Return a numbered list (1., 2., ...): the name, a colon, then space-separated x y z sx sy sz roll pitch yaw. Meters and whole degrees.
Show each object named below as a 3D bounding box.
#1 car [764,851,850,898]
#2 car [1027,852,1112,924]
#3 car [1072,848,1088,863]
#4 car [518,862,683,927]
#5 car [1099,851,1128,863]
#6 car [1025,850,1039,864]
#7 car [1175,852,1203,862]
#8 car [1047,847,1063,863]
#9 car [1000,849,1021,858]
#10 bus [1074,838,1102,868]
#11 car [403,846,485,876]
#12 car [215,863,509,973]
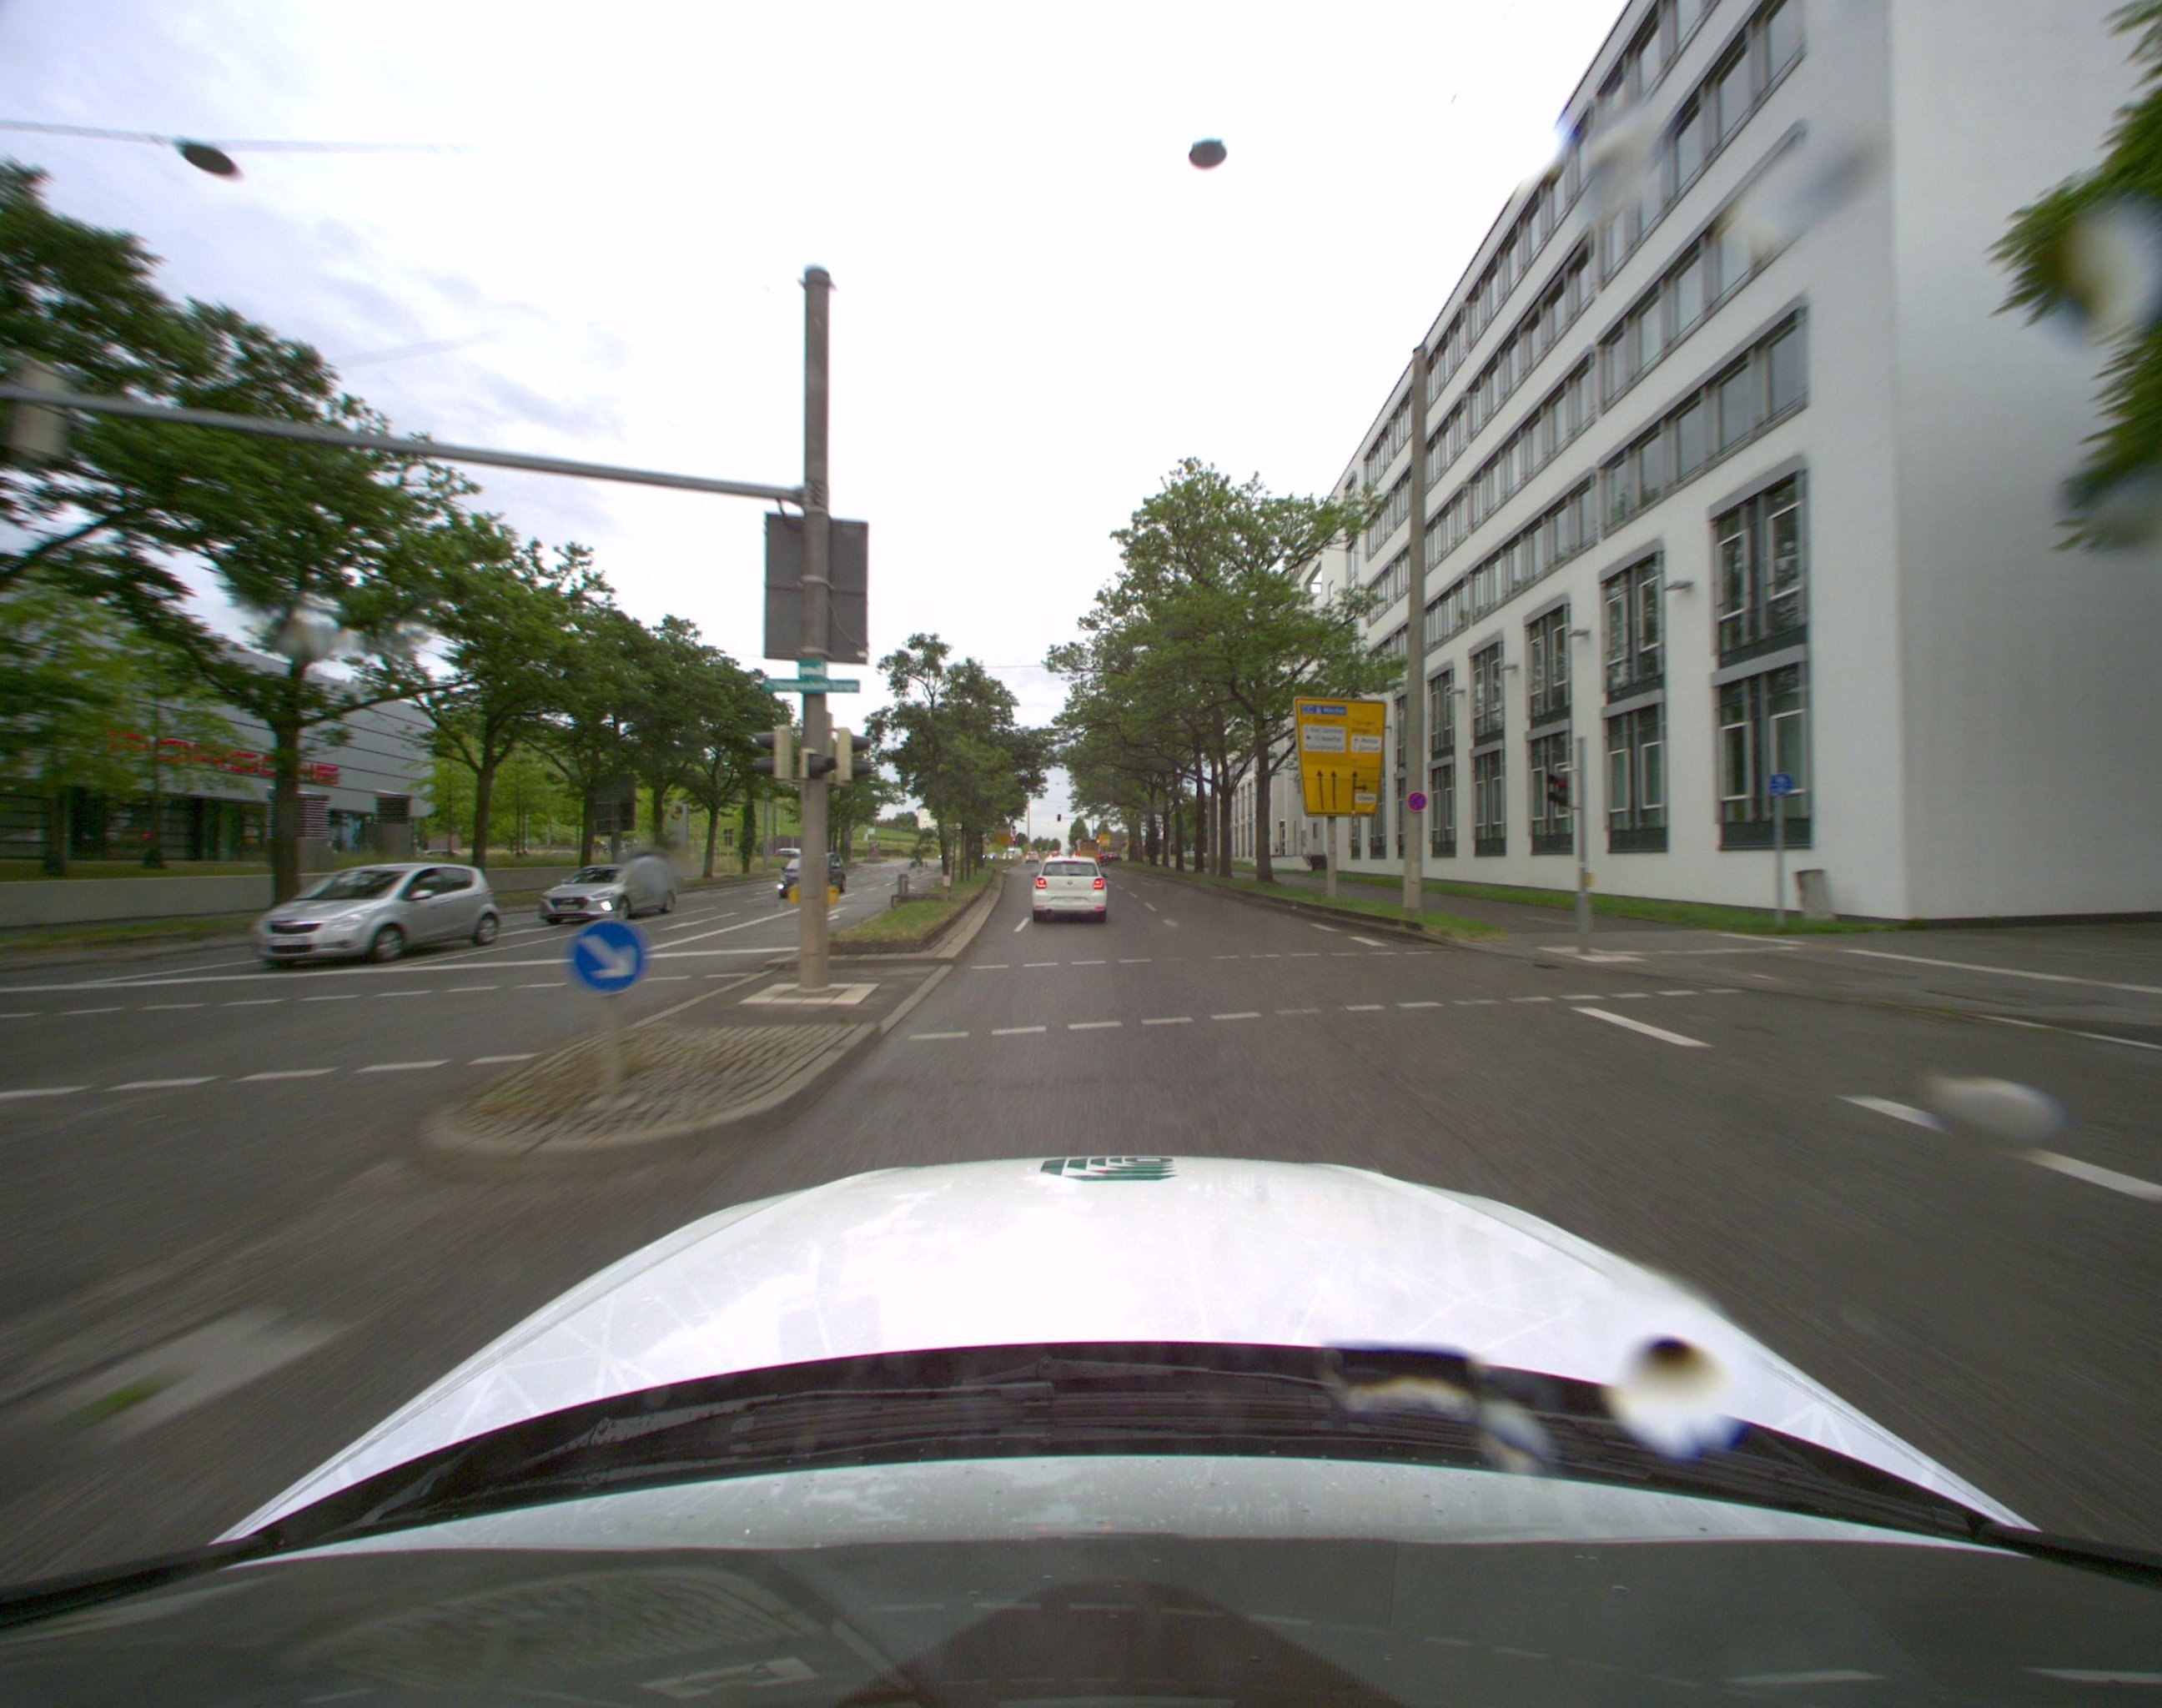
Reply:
1. car: -10.523 0.732 31.680 1.991 1.616 5.110 -2 0 -5
2. car: -0.277 0.728 19.450 1.789 1.502 3.998 1 0 -1
3. car: -0.193 0.217 107.325 1.988 2.014 3.997 0 -1 -2
4. car: -12.329 0.956 21.323 1.811 1.411 4.648 -2 0 -4
5. car: 4.259 0.380 106.186 1.679 1.515 3.850 -2 -1 43
6. car: -6.500 0.415 107.984 1.790 1.741 3.996 -1 -1 -3
7. car: 17.067 0.477 128.551 3.954 1.536 2.010 -1 0 19
8. car: -3.428 0.208 106.478 1.988 2.014 3.997 0 -1 -2
9. car: -16.111 -0.208 186.015 1.975 2.013 5.744 -1 0 25
10. bus: 0.688 -0.090 93.950 2.820 3.267 9.993 0 0 -2
11. car: -43.817 0.468 56.159 4.002 2.013 1.986 -1 0 -22
12. car: -11.812 0.941 13.776 1.747 1.520 3.811 -1 0 -5
